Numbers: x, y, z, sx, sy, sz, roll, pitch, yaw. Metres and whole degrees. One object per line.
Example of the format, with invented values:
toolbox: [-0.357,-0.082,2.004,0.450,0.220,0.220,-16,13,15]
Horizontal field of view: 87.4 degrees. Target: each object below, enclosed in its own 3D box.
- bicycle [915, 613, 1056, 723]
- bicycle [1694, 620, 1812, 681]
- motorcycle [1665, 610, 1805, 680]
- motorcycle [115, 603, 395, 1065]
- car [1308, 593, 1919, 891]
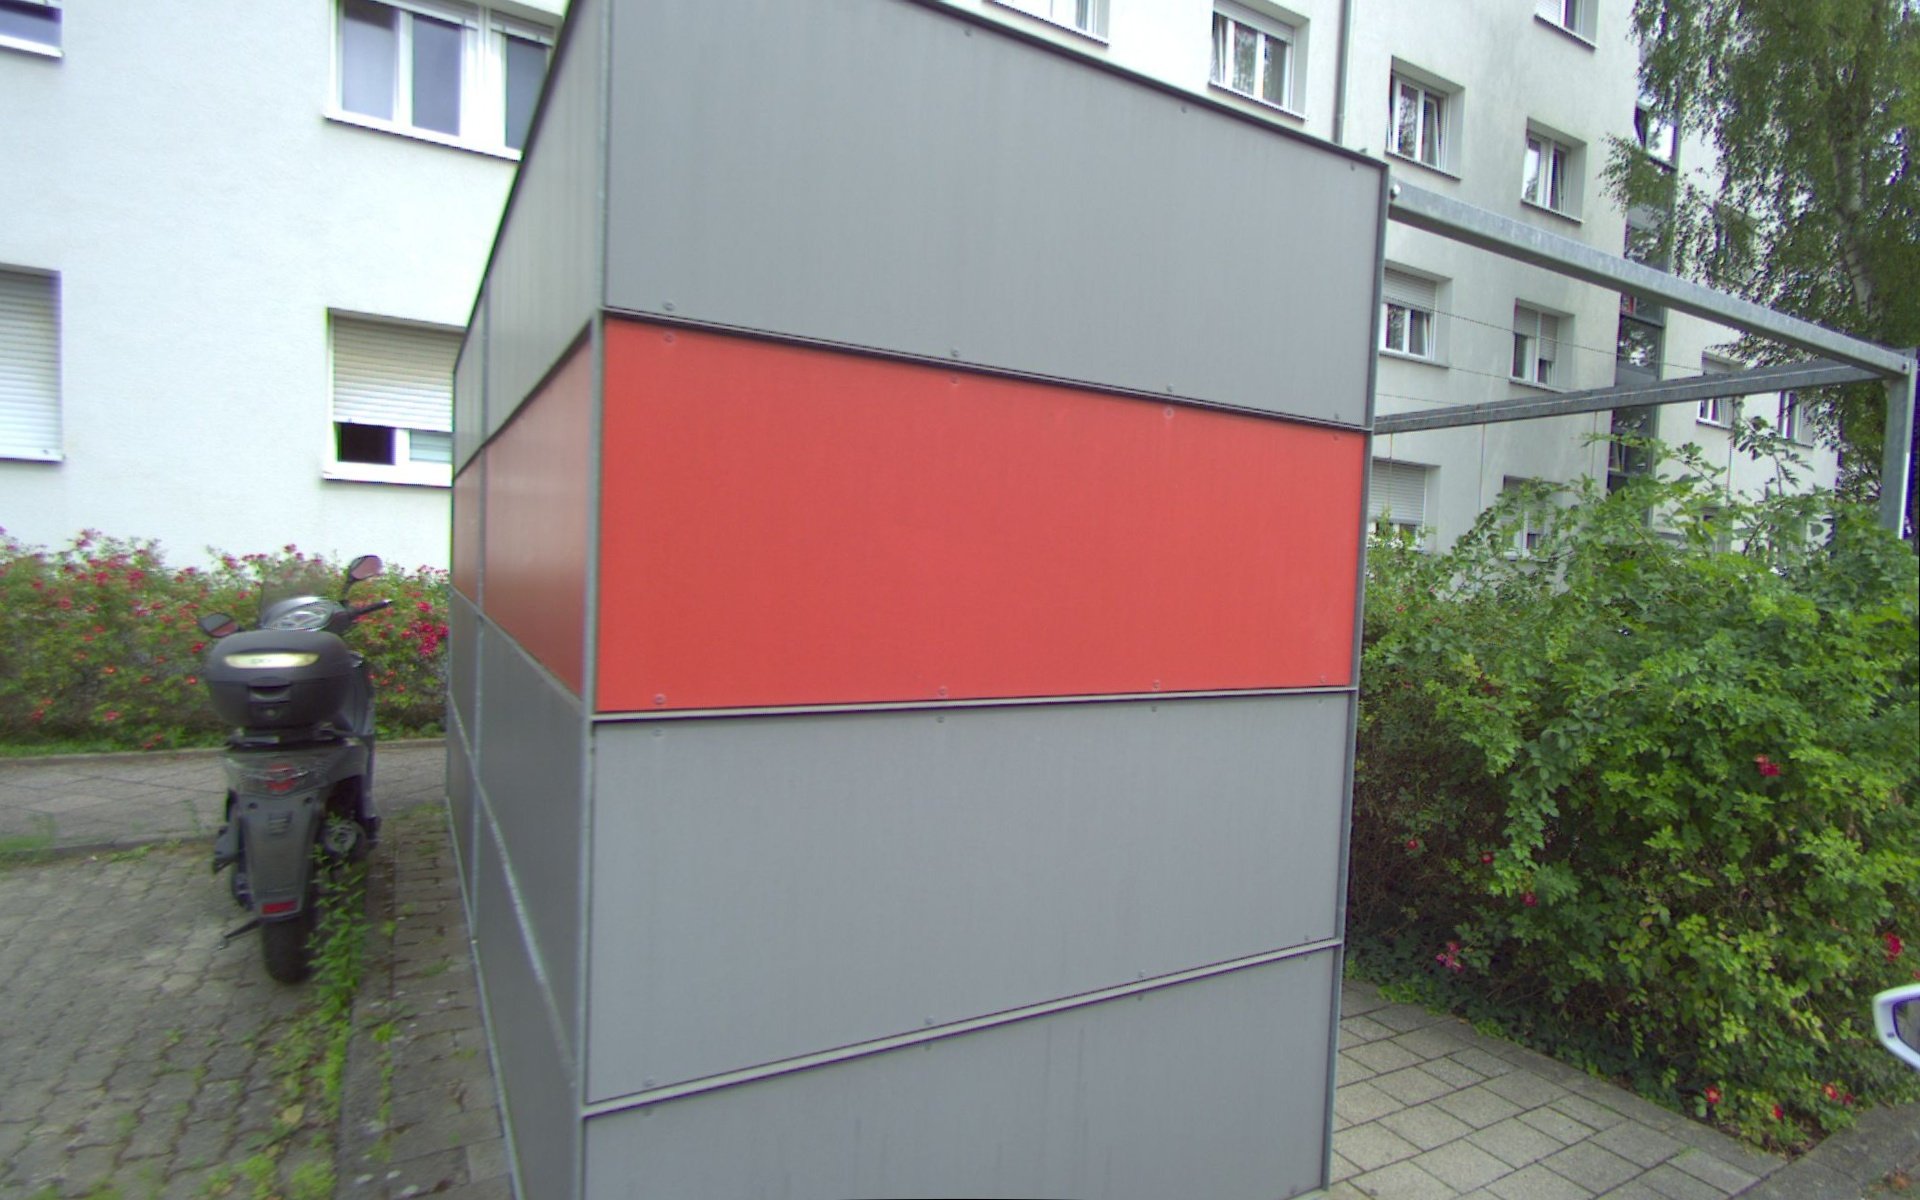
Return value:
bicycle: [0.240,0.651,10.016,1.362,0.970,0.393,3,2,31]
bicycle: [14.826,0.920,18.832,1.638,1.017,0.576,3,2,31]
motorcycle: [14.003,0.793,18.214,1.864,1.138,0.676,2,2,27]
motorcycle: [-2.531,0.650,3.827,0.627,1.152,2.131,-2,4,-29]
car: [4.847,0.745,6.969,1.904,1.394,4.295,1,2,-35]
